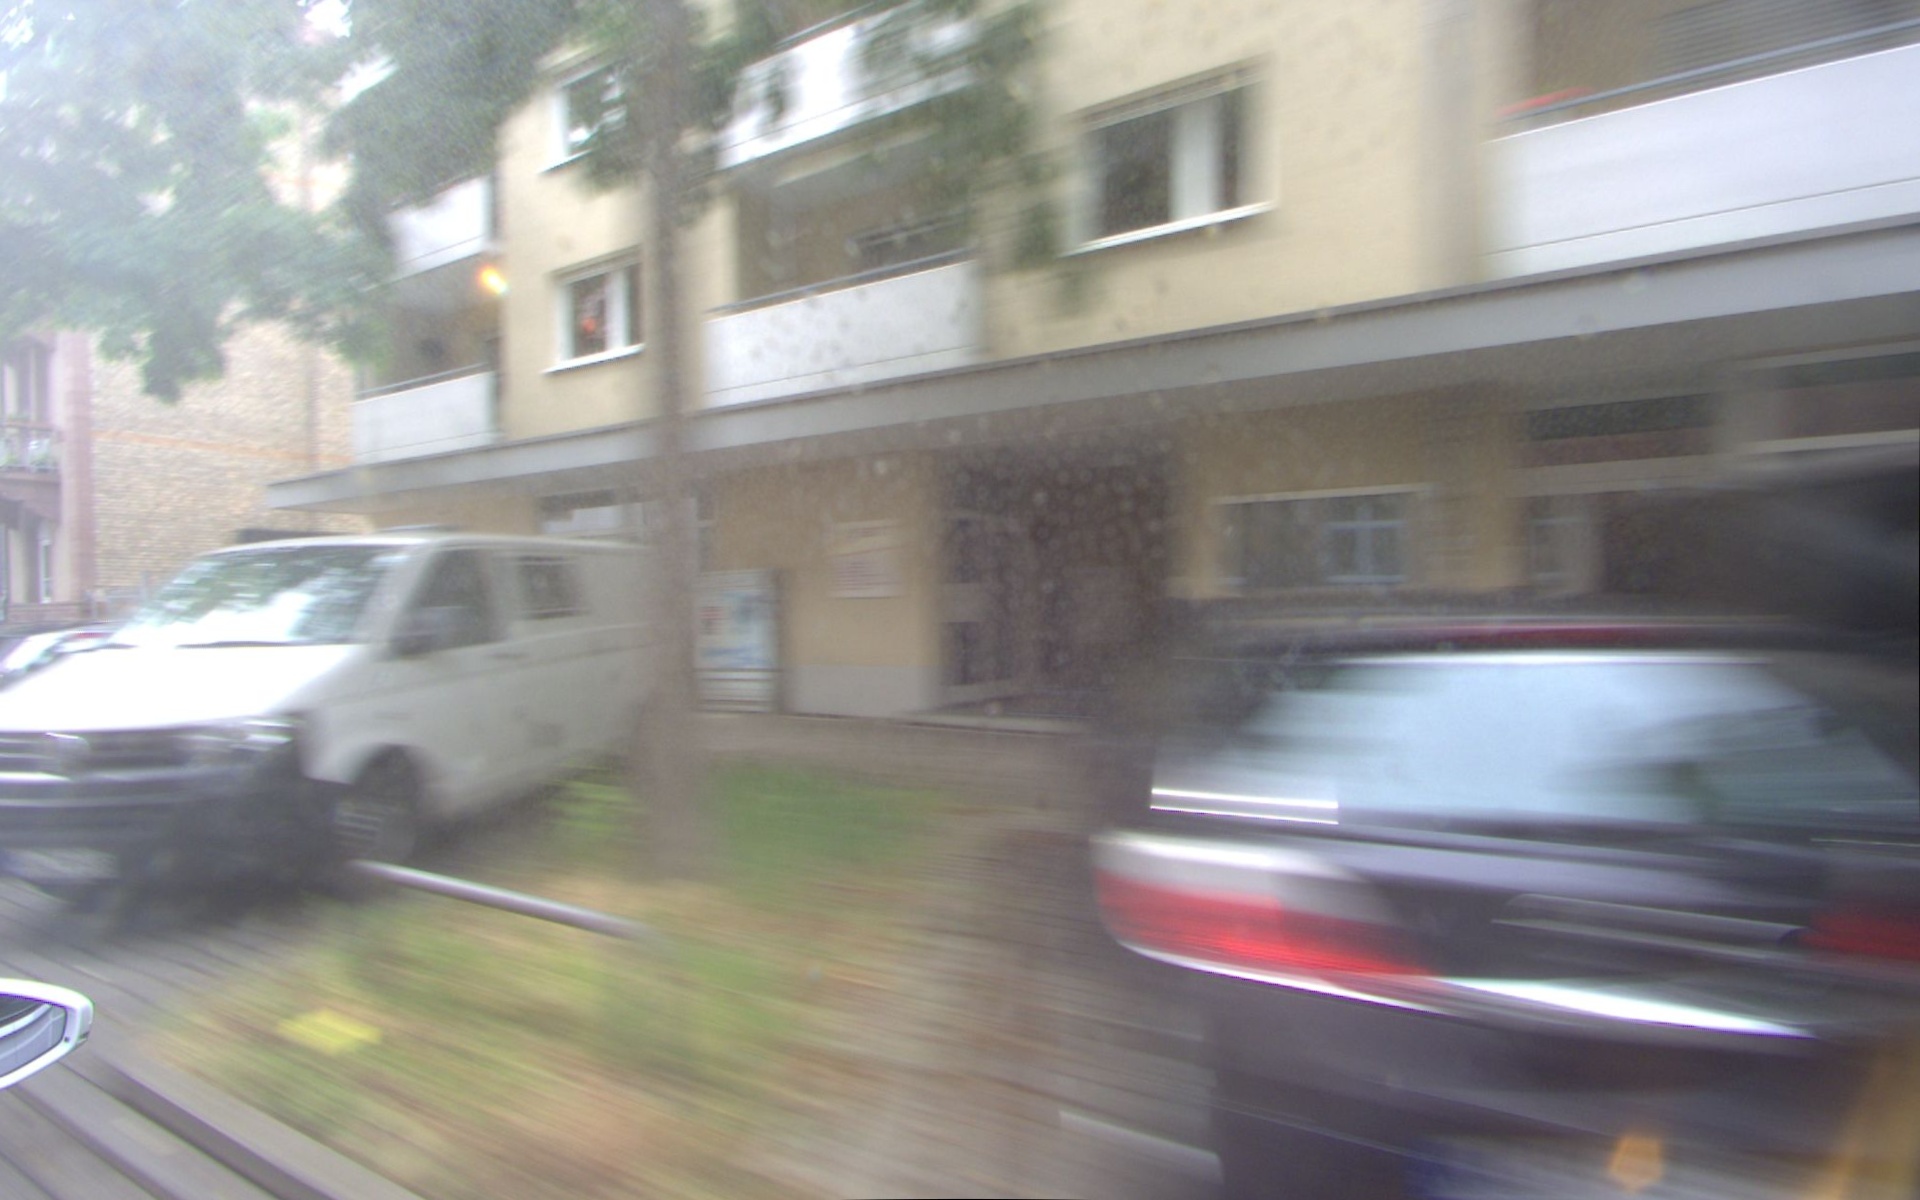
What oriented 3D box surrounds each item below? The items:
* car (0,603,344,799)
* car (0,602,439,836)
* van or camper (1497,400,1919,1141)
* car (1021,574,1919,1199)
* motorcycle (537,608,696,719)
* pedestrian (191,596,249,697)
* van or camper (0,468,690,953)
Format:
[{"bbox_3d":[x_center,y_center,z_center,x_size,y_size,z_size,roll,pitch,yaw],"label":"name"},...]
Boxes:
[{"bbox_3d":[-8.415,0.823,9.836,1.886,1.412,4.312,-1,2,2],"label":"car"},{"bbox_3d":[-6.102,0.803,8.350,1.638,1.461,3.423,-1,1,1],"label":"car"},{"bbox_3d":[3.469,0.418,2.305,2.086,1.895,5.019,-1,1,5],"label":"van or camper"},{"bbox_3d":[1.238,0.661,3.773,1.806,1.464,4.006,-1,2,1],"label":"car"},{"bbox_3d":[-4.510,0.791,13.085,2.220,1.319,0.676,-1,3,32],"label":"motorcycle"},{"bbox_3d":[-11.754,0.728,15.905,0.572,1.560,0.575,0,0,32],"label":"pedestrian"},{"bbox_3d":[-3.739,0.475,6.651,1.962,2.020,4.742,-3,1,8],"label":"van or camper"}]
